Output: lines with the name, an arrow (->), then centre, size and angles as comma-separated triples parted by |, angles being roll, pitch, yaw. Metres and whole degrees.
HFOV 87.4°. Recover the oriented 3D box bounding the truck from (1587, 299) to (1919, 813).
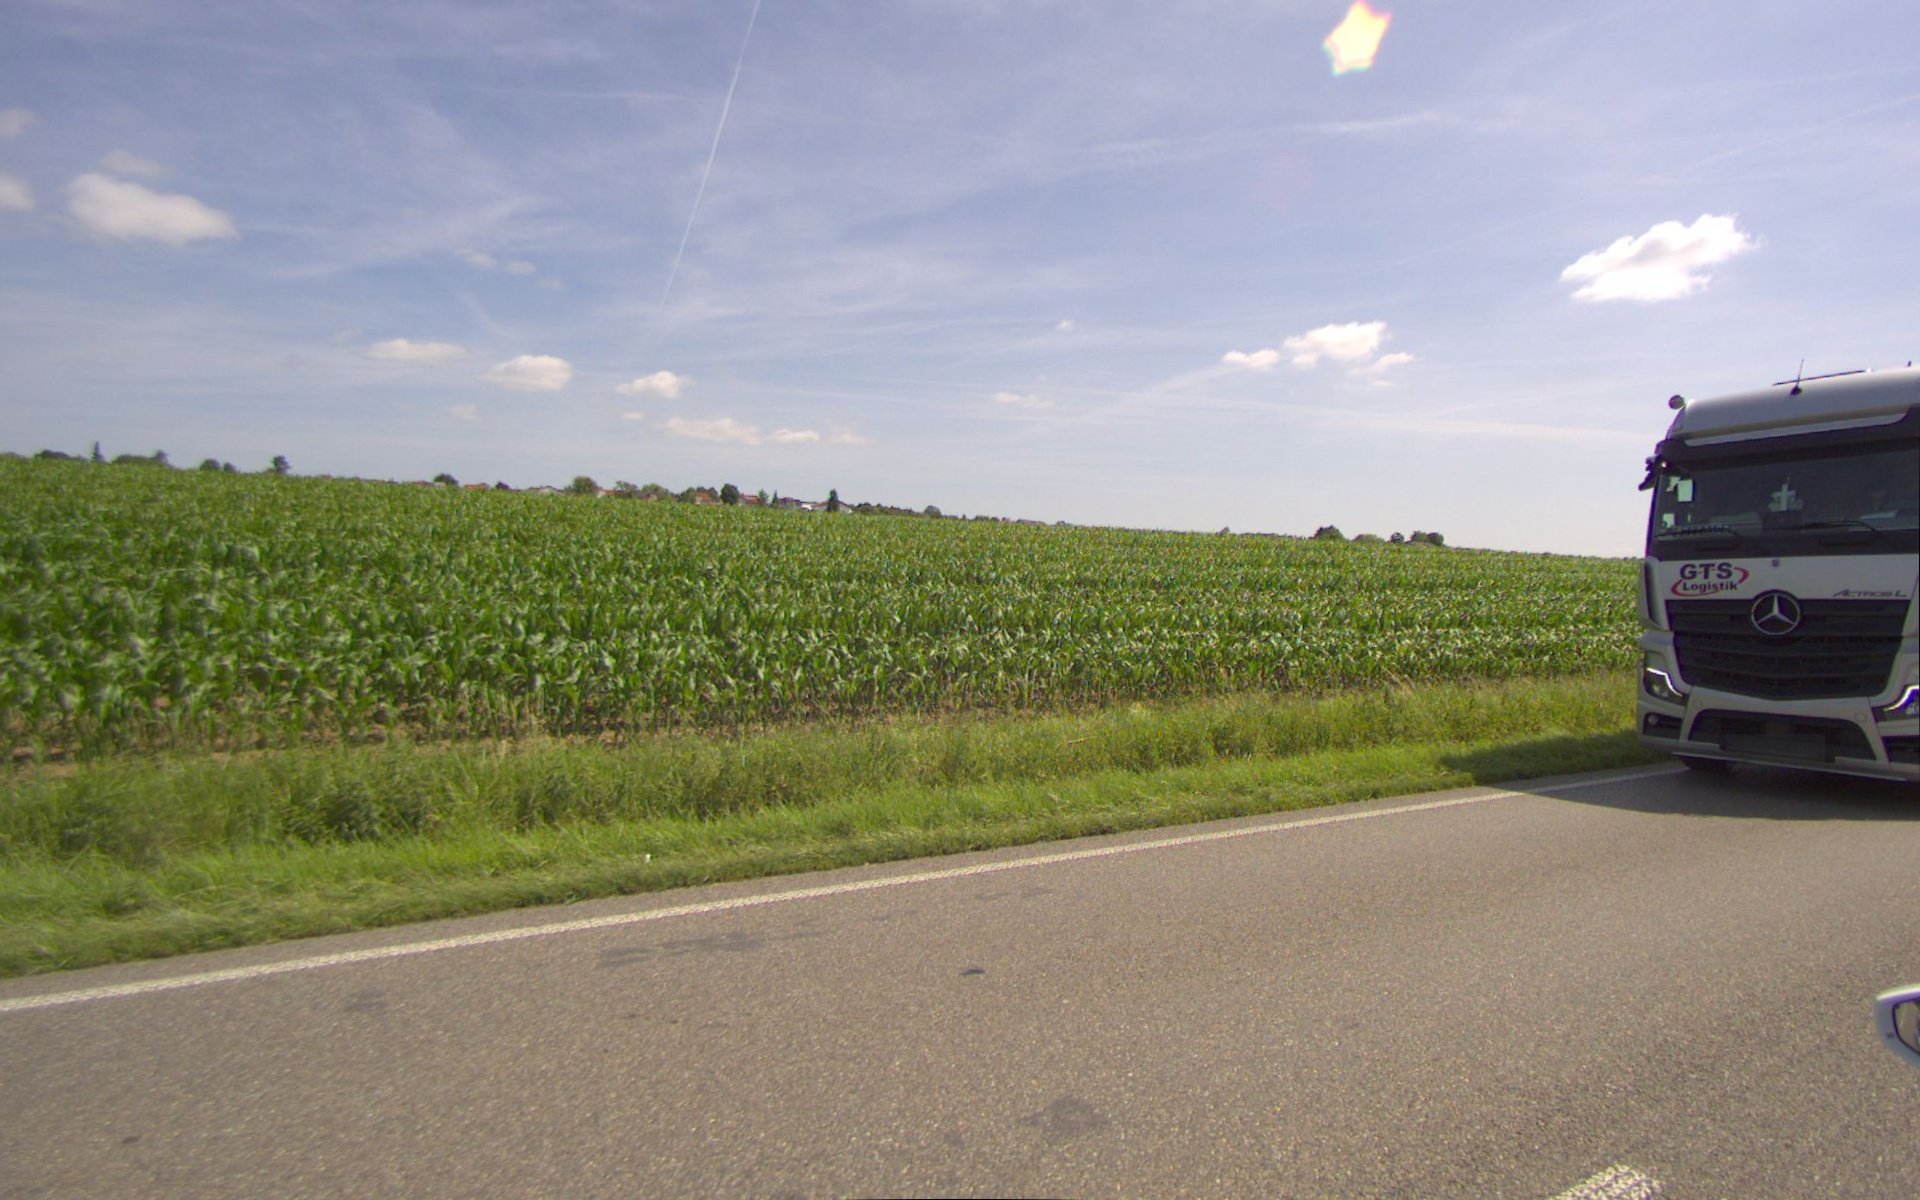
truck -> 13.929, -0.162, 13.156 | 16.348, 4.045, 2.812 | 2, -1, -32
